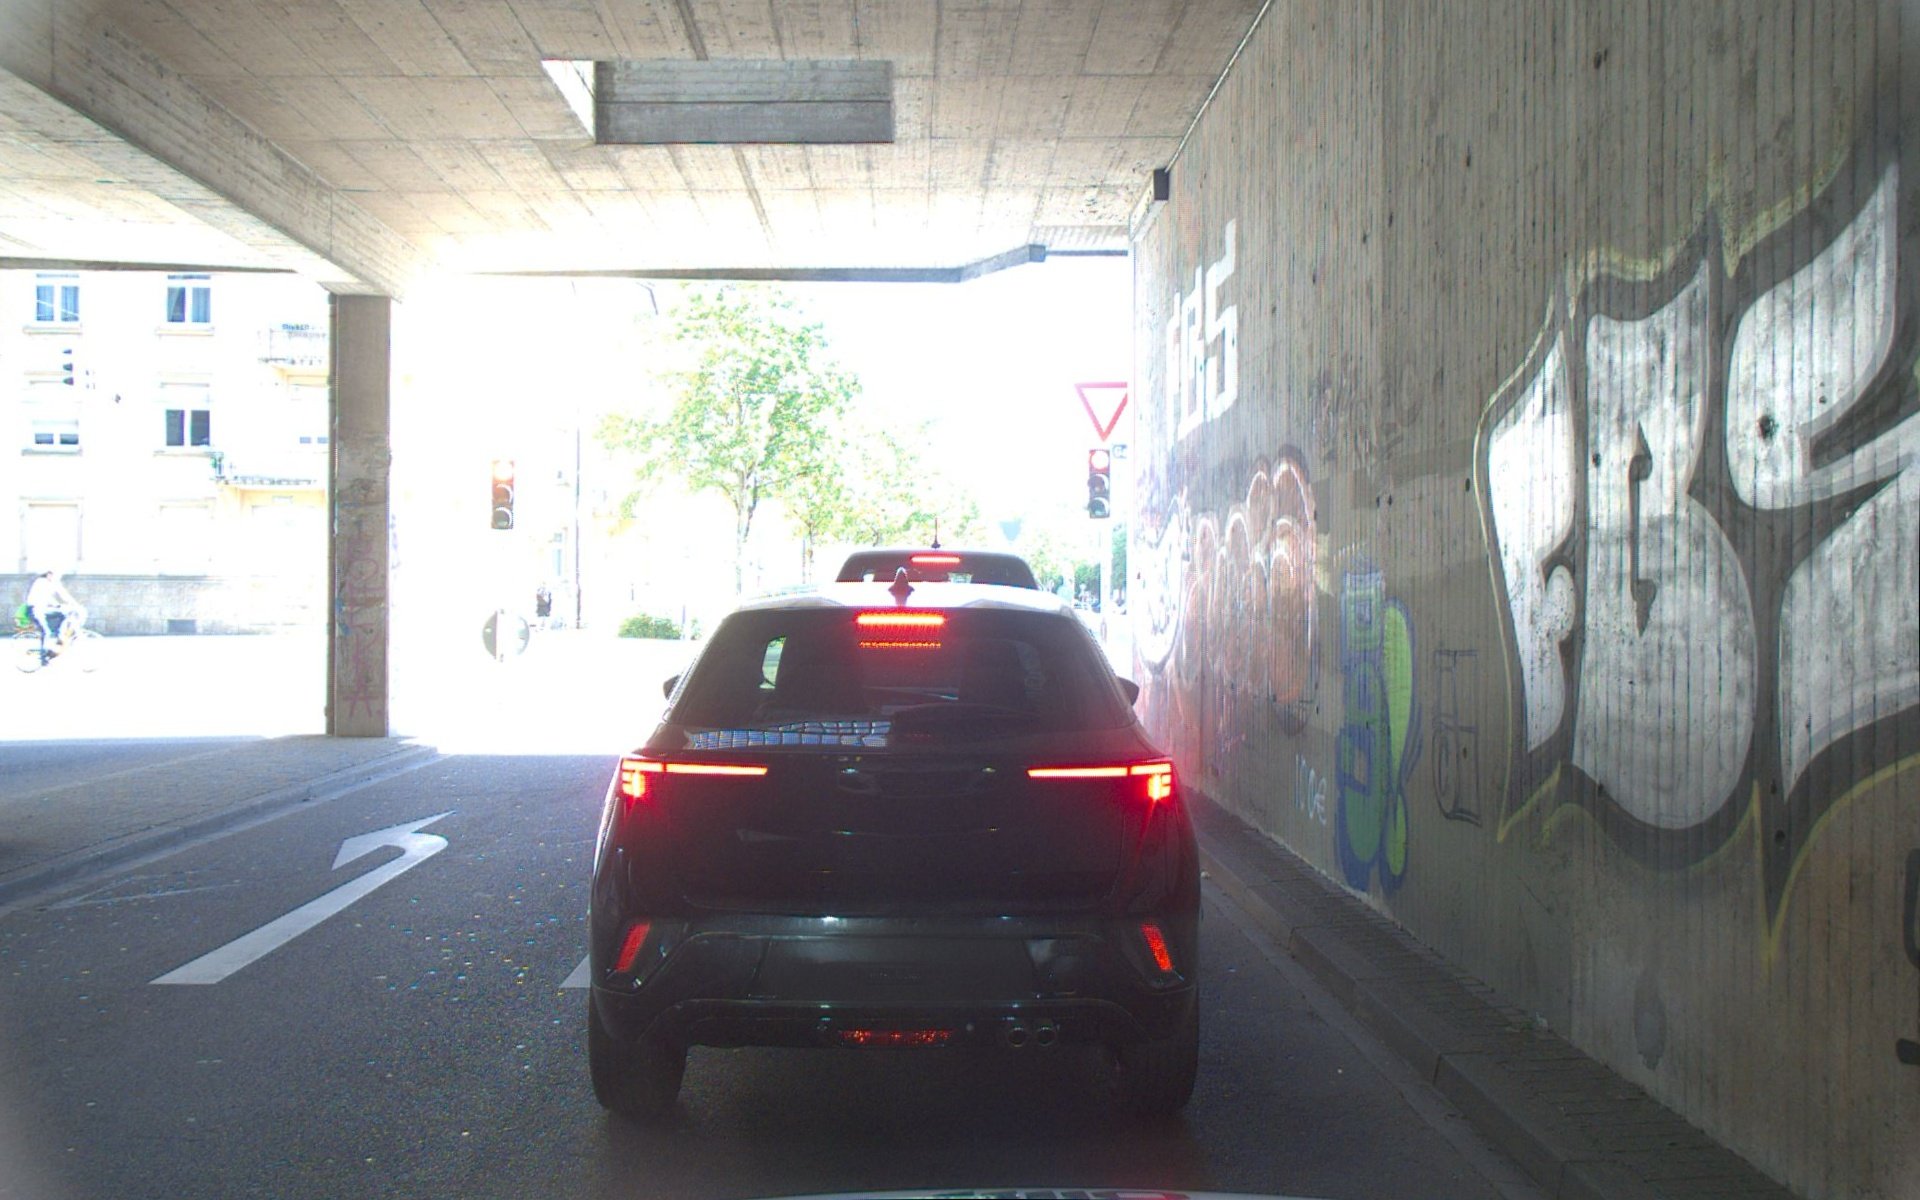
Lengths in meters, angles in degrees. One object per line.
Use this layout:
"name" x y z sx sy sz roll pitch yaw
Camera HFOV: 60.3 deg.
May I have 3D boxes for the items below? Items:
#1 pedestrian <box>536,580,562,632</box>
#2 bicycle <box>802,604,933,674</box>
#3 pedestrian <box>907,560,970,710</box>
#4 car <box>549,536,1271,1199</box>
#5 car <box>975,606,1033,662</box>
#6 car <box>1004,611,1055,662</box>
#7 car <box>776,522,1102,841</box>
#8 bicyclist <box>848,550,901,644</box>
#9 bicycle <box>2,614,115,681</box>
"pedestrian" -13.421 0.202 54.007 0.658 1.666 0.740 1 -1 -1
"bicycle" -1.440 0.605 26.004 1.947 1.068 0.719 -1 -1 6
"pedestrian" -0.256 0.422 20.031 0.716 1.764 0.874 1 -1 -1
"car" -0.148 0.613 6.017 1.729 1.598 4.000 1 1 -1
"car" 1.698 1.260 62.303 1.951 2.004 4.166 1 0 4
"car" 2.920 1.462 68.390 1.951 2.004 4.166 1 0 4
"car" -0.152 0.478 11.929 1.953 1.904 3.999 0 0 -1
"bicyclist" -1.338 -0.040 26.003 0.722 1.448 0.685 -1 -1 6
"bicycle" -15.765 0.824 28.941 1.704 1.138 0.477 1 -1 2
